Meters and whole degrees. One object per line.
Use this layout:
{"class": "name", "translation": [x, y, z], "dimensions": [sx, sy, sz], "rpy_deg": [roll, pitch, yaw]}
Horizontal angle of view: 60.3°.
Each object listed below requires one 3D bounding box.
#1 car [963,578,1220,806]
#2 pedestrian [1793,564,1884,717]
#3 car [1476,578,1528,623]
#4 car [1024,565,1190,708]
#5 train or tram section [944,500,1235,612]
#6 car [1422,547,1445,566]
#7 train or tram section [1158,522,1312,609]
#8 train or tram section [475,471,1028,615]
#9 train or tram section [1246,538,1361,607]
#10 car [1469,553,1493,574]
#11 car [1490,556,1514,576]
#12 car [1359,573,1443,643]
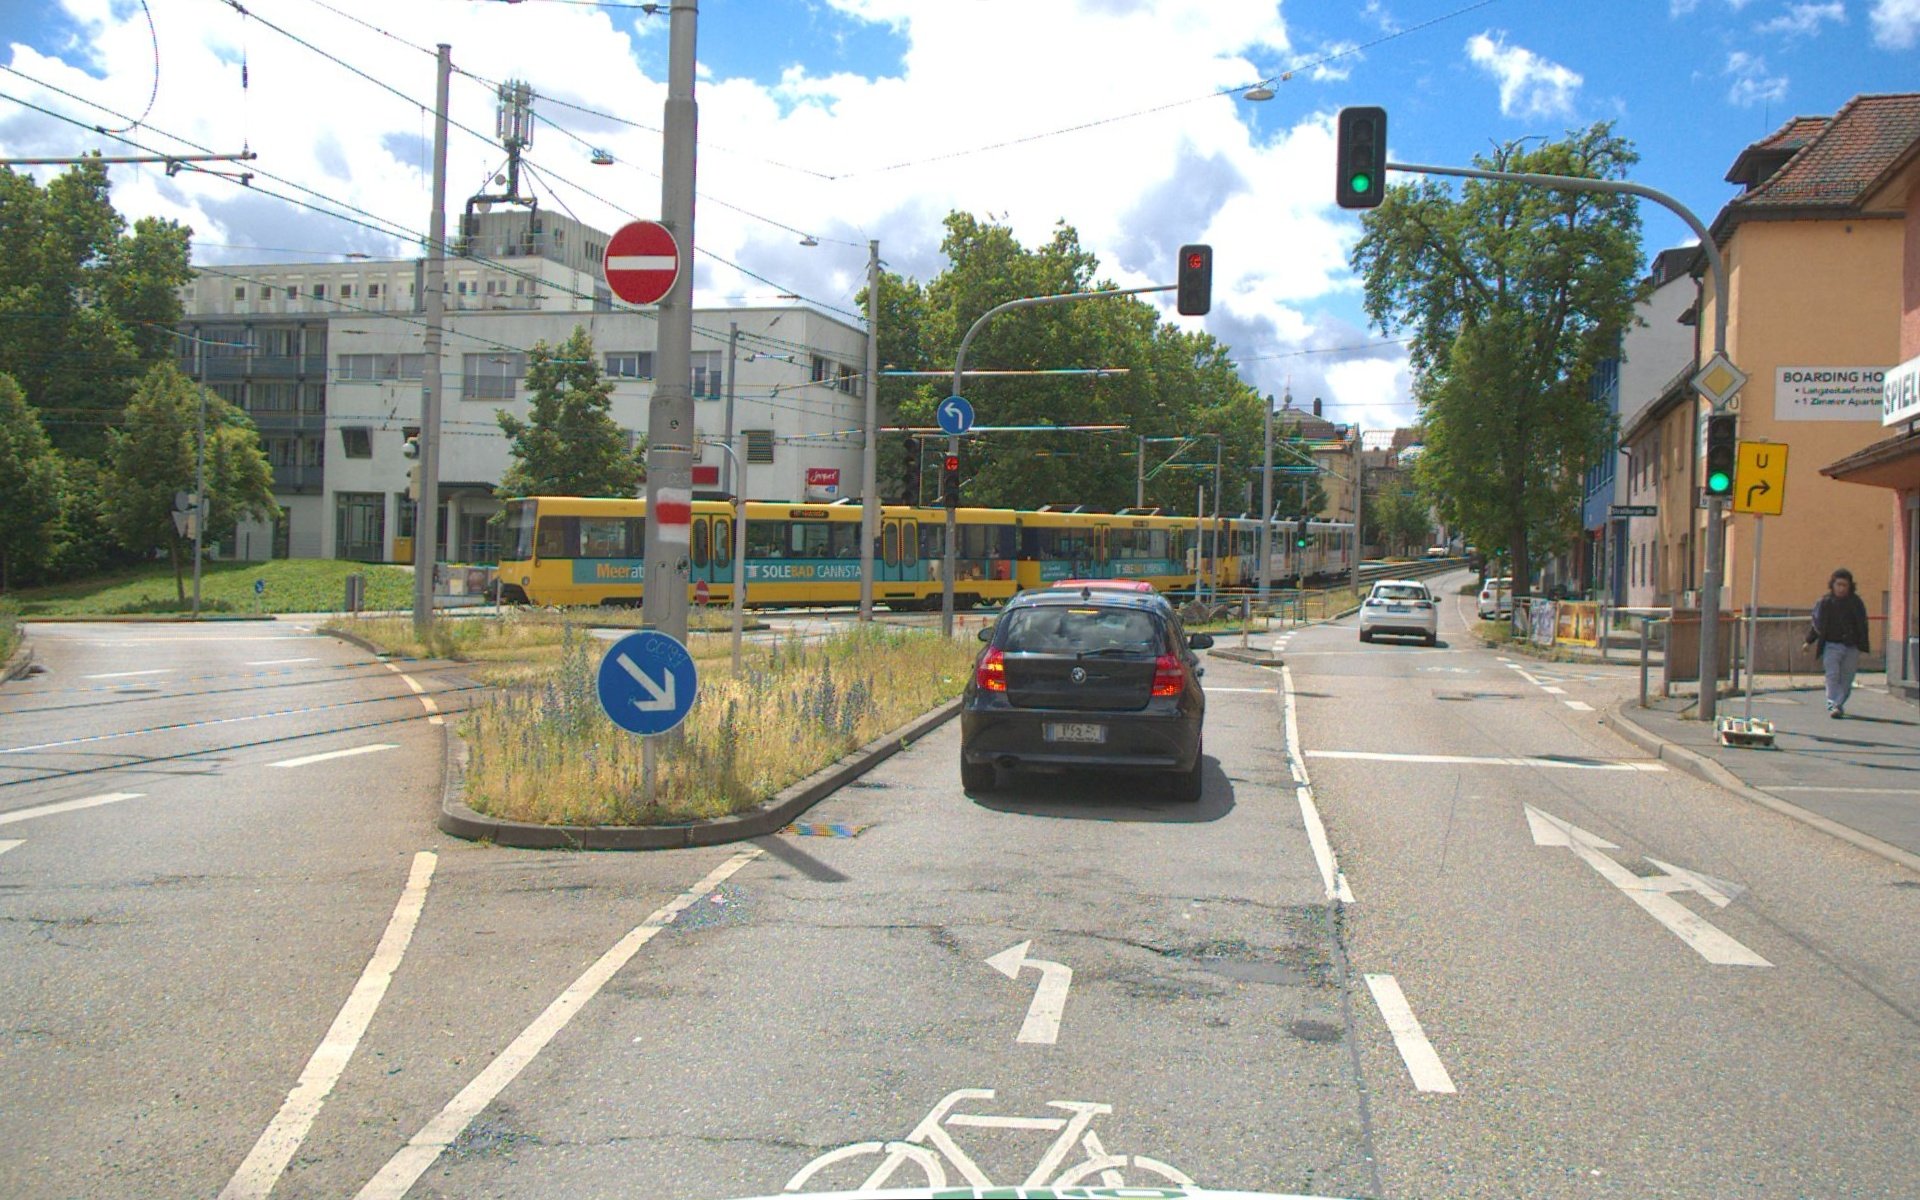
{"class": "car", "translation": [0.916, 0.606, 12.757], "dimensions": [1.666, 1.477, 4.001], "rpy_deg": [0, 0, 2]}
{"class": "pedestrian", "translation": [9.885, 0.434, 18.637], "dimensions": [0.748, 1.671, 0.778], "rpy_deg": [0, 1, 15]}
{"class": "car", "translation": [20.057, 0.027, 61.351], "dimensions": [1.749, 1.624, 4.002], "rpy_deg": [0, 0, 17]}
{"class": "car", "translation": [1.816, 0.390, 19.382], "dimensions": [1.590, 1.499, 4.003], "rpy_deg": [0, 0, 10]}
{"class": "train or tram section", "translation": [5.971, -1.492, 67.399], "dimensions": [3.679, 3.896, 20.110], "rpy_deg": [0, 0, 30]}
{"class": "car", "translation": [54.806, -5.016, 191.266], "dimensions": [1.954, 2.049, 3.997], "rpy_deg": [0, 0, 25]}
{"class": "train or tram section", "translation": [14.577, -1.502, 85.277], "dimensions": [3.672, 3.947, 20.634], "rpy_deg": [0, 0, 21]}
{"class": "train or tram section", "translation": [-5.975, -1.543, 53.326], "dimensions": [18.714, 3.987, 3.708], "rpy_deg": [0, 0, -40]}
{"class": "train or tram section", "translation": [21.858, -1.498, 103.817], "dimensions": [3.672, 3.881, 20.049], "rpy_deg": [0, 0, 22]}
{"class": "car", "translation": [41.935, -2.918, 133.110], "dimensions": [1.777, 1.494, 4.002], "rpy_deg": [3, 2, 18]}
{"class": "car", "translation": [52.576, -3.302, 160.459], "dimensions": [2.079, 1.890, 3.739], "rpy_deg": [1, 1, 18]}
{"class": "car", "translation": [10.733, 0.159, 40.419], "dimensions": [1.777, 1.494, 4.003], "rpy_deg": [5, 2, 14]}
